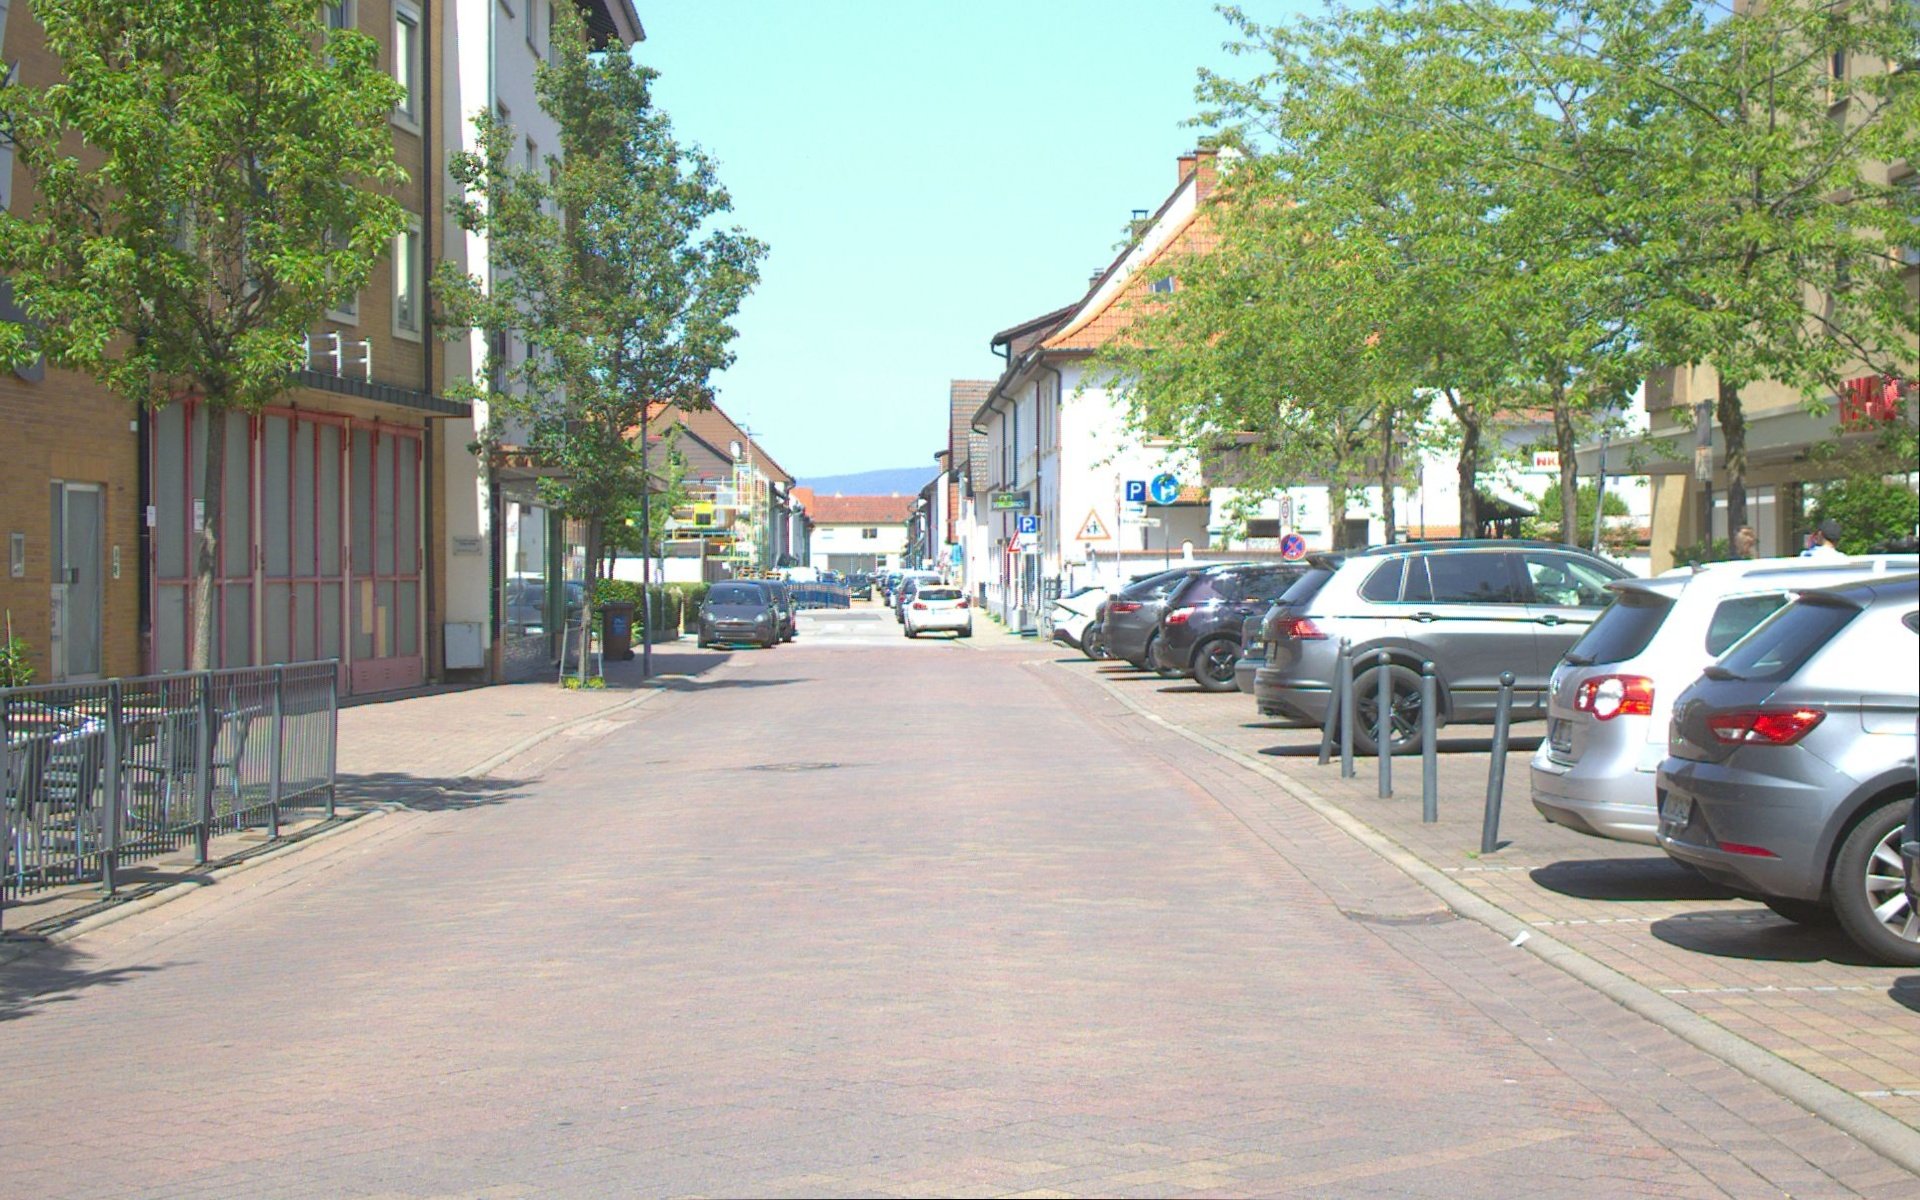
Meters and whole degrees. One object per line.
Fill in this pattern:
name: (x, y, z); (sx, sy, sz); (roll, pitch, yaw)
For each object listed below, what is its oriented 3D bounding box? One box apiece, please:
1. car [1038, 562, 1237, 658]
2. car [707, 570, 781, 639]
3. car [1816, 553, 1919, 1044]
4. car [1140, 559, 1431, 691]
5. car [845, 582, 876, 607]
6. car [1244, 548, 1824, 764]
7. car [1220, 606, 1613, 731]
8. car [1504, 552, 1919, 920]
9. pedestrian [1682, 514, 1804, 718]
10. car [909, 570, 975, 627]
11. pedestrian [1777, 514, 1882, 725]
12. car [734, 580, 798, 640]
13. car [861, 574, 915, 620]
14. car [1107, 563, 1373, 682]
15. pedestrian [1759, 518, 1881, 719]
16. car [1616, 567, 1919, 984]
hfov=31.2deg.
car: (3.301, 0.185, 64.254); (3.478, 1.695, 1.536); (-1, 0, -5)
car: (-4.961, 0.088, 79.317); (1.507, 1.495, 3.827); (0, 1, 0)
car: (5.077, 0.594, 10.878); (4.181, 1.536, 1.946); (-1, 0, -4)
car: (4.141, 0.313, 44.108); (3.521, 1.649, 1.711); (0, 0, -1)
car: (-6.116, -0.358, 211.677); (1.747, 1.476, 3.629); (0, 1, 0)
car: (4.432, 0.414, 26.909); (4.244, 1.610, 1.558); (0, 1, -1)
car: (4.329, 0.640, 32.808); (3.521, 1.138, 1.274); (0, 0, -4)
car: (4.698, 0.574, 15.738); (4.153, 1.568, 1.759); (0, 1, 1)
pedestrian: (6.935, 0.132, 30.475); (0.837, 1.781, 0.807); (0, 1, -7)
car: (-0.526, -0.054, 98.169); (1.831, 1.527, 3.946); (0, 1, 0)
pedestrian: (7.438, 0.155, 29.426); (0.838, 1.781, 0.806); (0, 1, 12)
car: (-5.142, 0.247, 91.274); (1.507, 1.495, 3.827); (0, 1, 0)
car: (-2.456, -0.126, 117.818); (1.747, 1.476, 3.629); (0, 1, 0)
car: (3.865, 0.308, 47.910); (3.521, 1.619, 1.711); (0, 0, -1)
pedestrian: (7.768, 0.155, 31.075); (0.837, 1.781, 0.807); (0, 1, -7)
car: (4.588, 0.609, 13.071); (3.938, 1.484, 1.715); (-1, 0, 5)
